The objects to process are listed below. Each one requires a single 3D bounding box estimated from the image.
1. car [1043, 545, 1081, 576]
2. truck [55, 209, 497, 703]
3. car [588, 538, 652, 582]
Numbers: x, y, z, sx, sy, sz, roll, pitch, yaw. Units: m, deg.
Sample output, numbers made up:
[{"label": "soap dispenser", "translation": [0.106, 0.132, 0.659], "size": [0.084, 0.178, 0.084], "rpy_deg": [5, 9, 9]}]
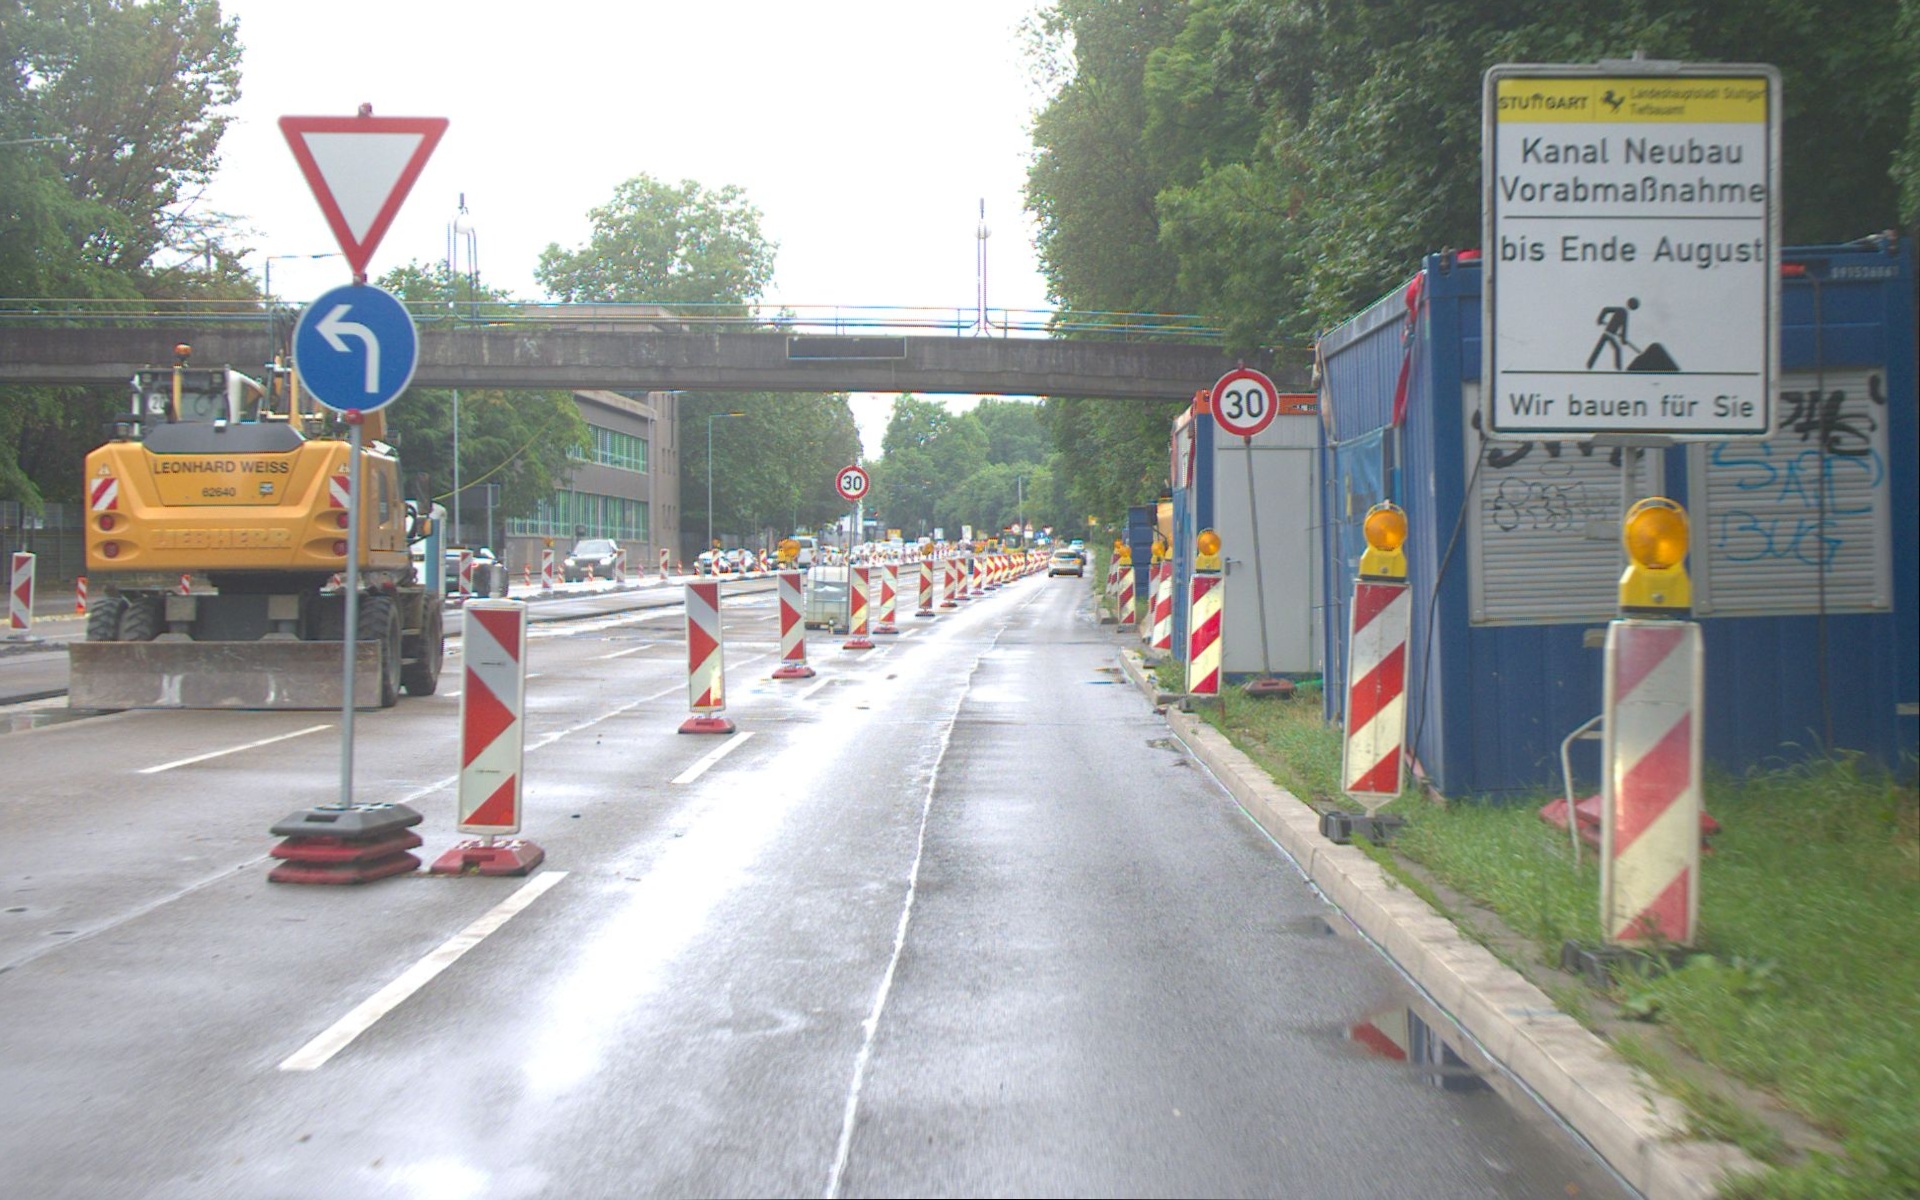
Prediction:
[{"label": "car", "translation": [5.439, -2.109, 183.816], "size": [1.993, 1.634, 4.000], "rpy_deg": [0, 1, 2]}, {"label": "truck", "translation": [-6.689, -1.350, 35.360], "size": [2.897, 4.244, 10.757], "rpy_deg": [1, 1, -3]}, {"label": "car", "translation": [-14.059, -1.661, 142.495], "size": [1.971, 1.800, 4.607], "rpy_deg": [0, 1, 3]}]
